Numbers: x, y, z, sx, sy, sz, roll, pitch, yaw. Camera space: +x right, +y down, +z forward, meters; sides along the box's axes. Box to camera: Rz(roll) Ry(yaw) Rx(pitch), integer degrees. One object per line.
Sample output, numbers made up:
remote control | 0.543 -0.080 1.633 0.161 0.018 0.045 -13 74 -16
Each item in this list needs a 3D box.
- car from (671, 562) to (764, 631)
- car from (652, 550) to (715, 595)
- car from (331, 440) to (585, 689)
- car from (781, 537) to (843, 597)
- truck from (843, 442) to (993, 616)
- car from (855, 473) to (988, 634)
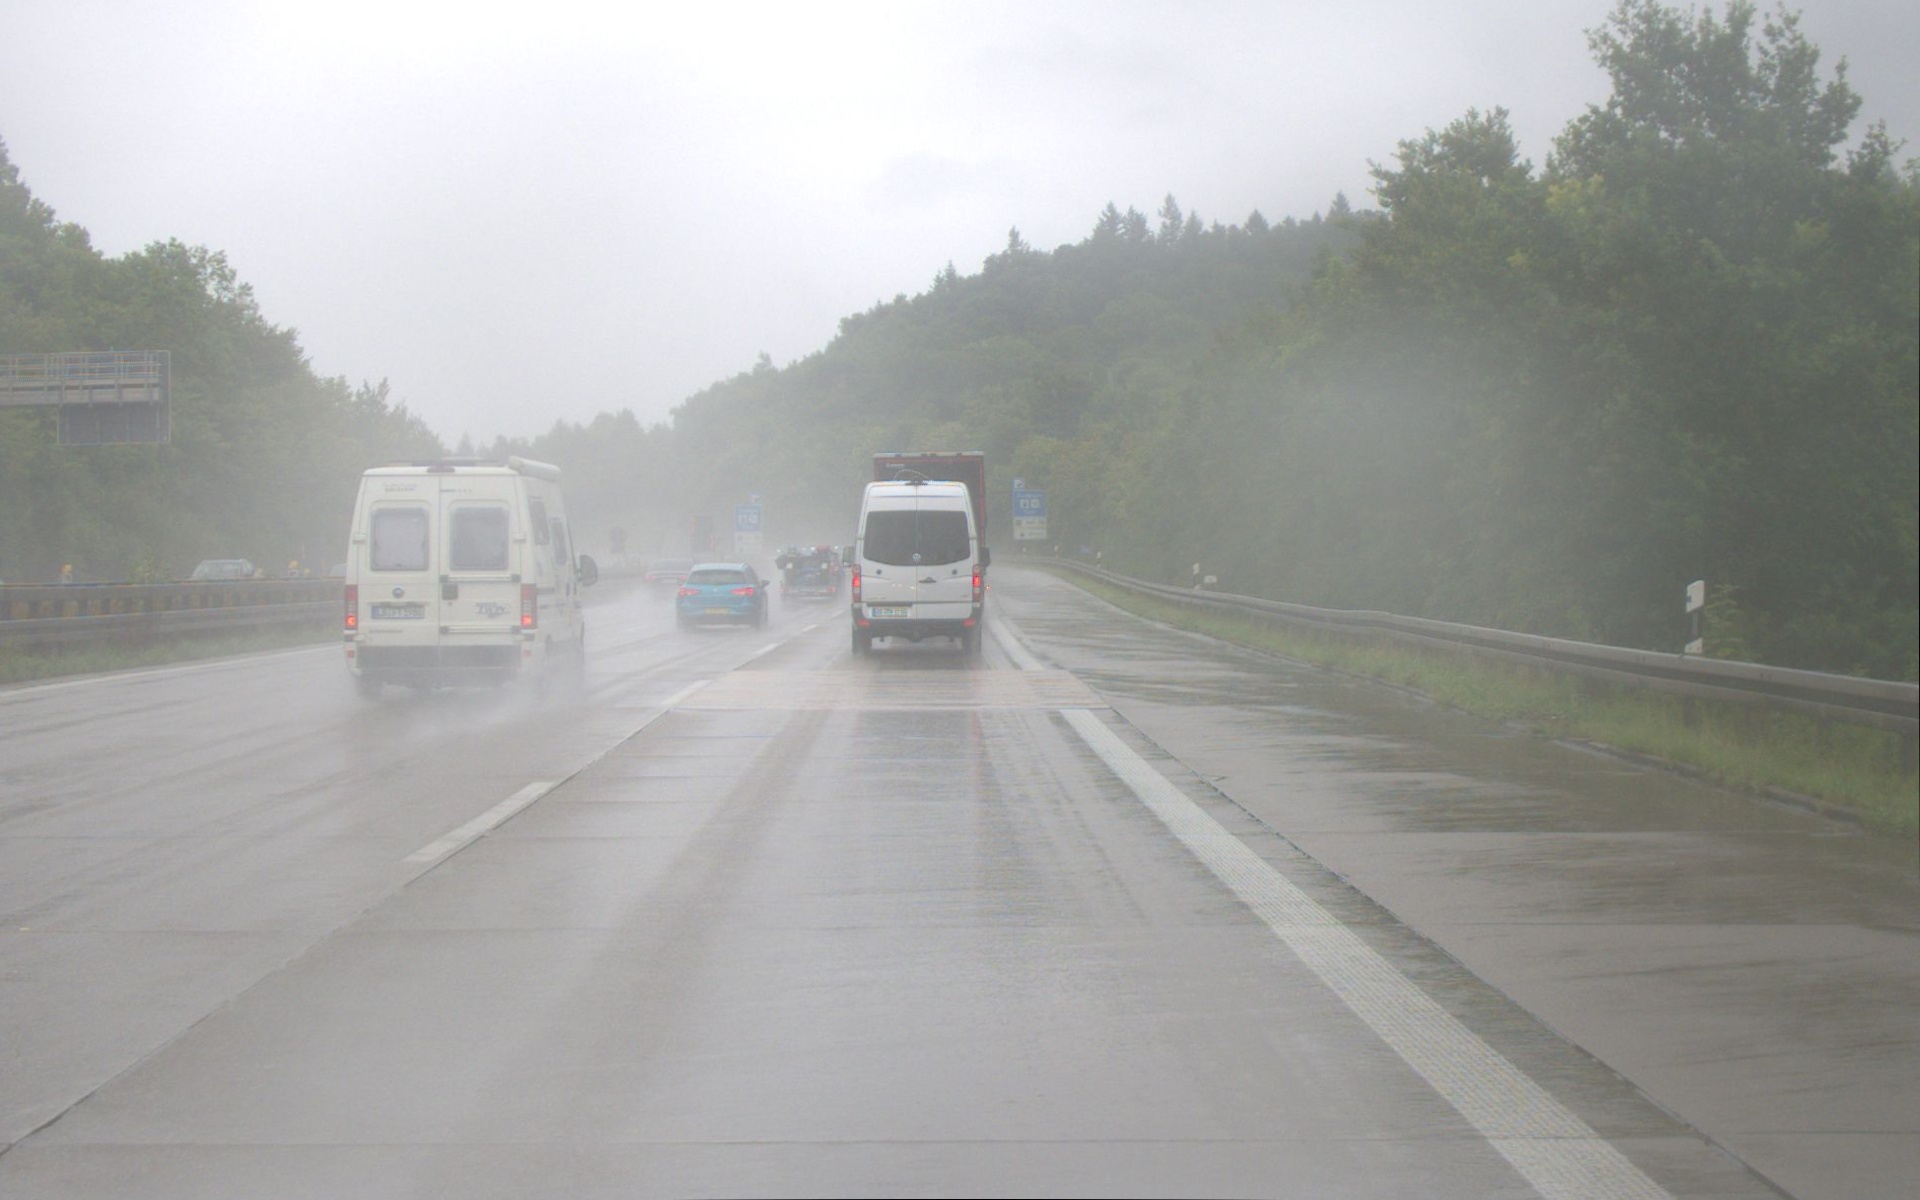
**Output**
car | -5.076 -0.094 72.234 1.856 1.334 4.352 1 1 -4
car | -8.681 -0.893 108.342 1.856 1.334 4.352 1 1 -3
car | -5.300 -0.397 37.012 1.997 2.423 5.791 1 1 -2
car | -4.660 -1.059 108.715 1.868 1.804 4.189 1 1 -2
truck | -1.043 -1.847 84.006 3.385 3.954 8.668 -1 3 -1
car | -0.647 -0.734 53.490 1.899 2.326 5.251 1 1 -2
